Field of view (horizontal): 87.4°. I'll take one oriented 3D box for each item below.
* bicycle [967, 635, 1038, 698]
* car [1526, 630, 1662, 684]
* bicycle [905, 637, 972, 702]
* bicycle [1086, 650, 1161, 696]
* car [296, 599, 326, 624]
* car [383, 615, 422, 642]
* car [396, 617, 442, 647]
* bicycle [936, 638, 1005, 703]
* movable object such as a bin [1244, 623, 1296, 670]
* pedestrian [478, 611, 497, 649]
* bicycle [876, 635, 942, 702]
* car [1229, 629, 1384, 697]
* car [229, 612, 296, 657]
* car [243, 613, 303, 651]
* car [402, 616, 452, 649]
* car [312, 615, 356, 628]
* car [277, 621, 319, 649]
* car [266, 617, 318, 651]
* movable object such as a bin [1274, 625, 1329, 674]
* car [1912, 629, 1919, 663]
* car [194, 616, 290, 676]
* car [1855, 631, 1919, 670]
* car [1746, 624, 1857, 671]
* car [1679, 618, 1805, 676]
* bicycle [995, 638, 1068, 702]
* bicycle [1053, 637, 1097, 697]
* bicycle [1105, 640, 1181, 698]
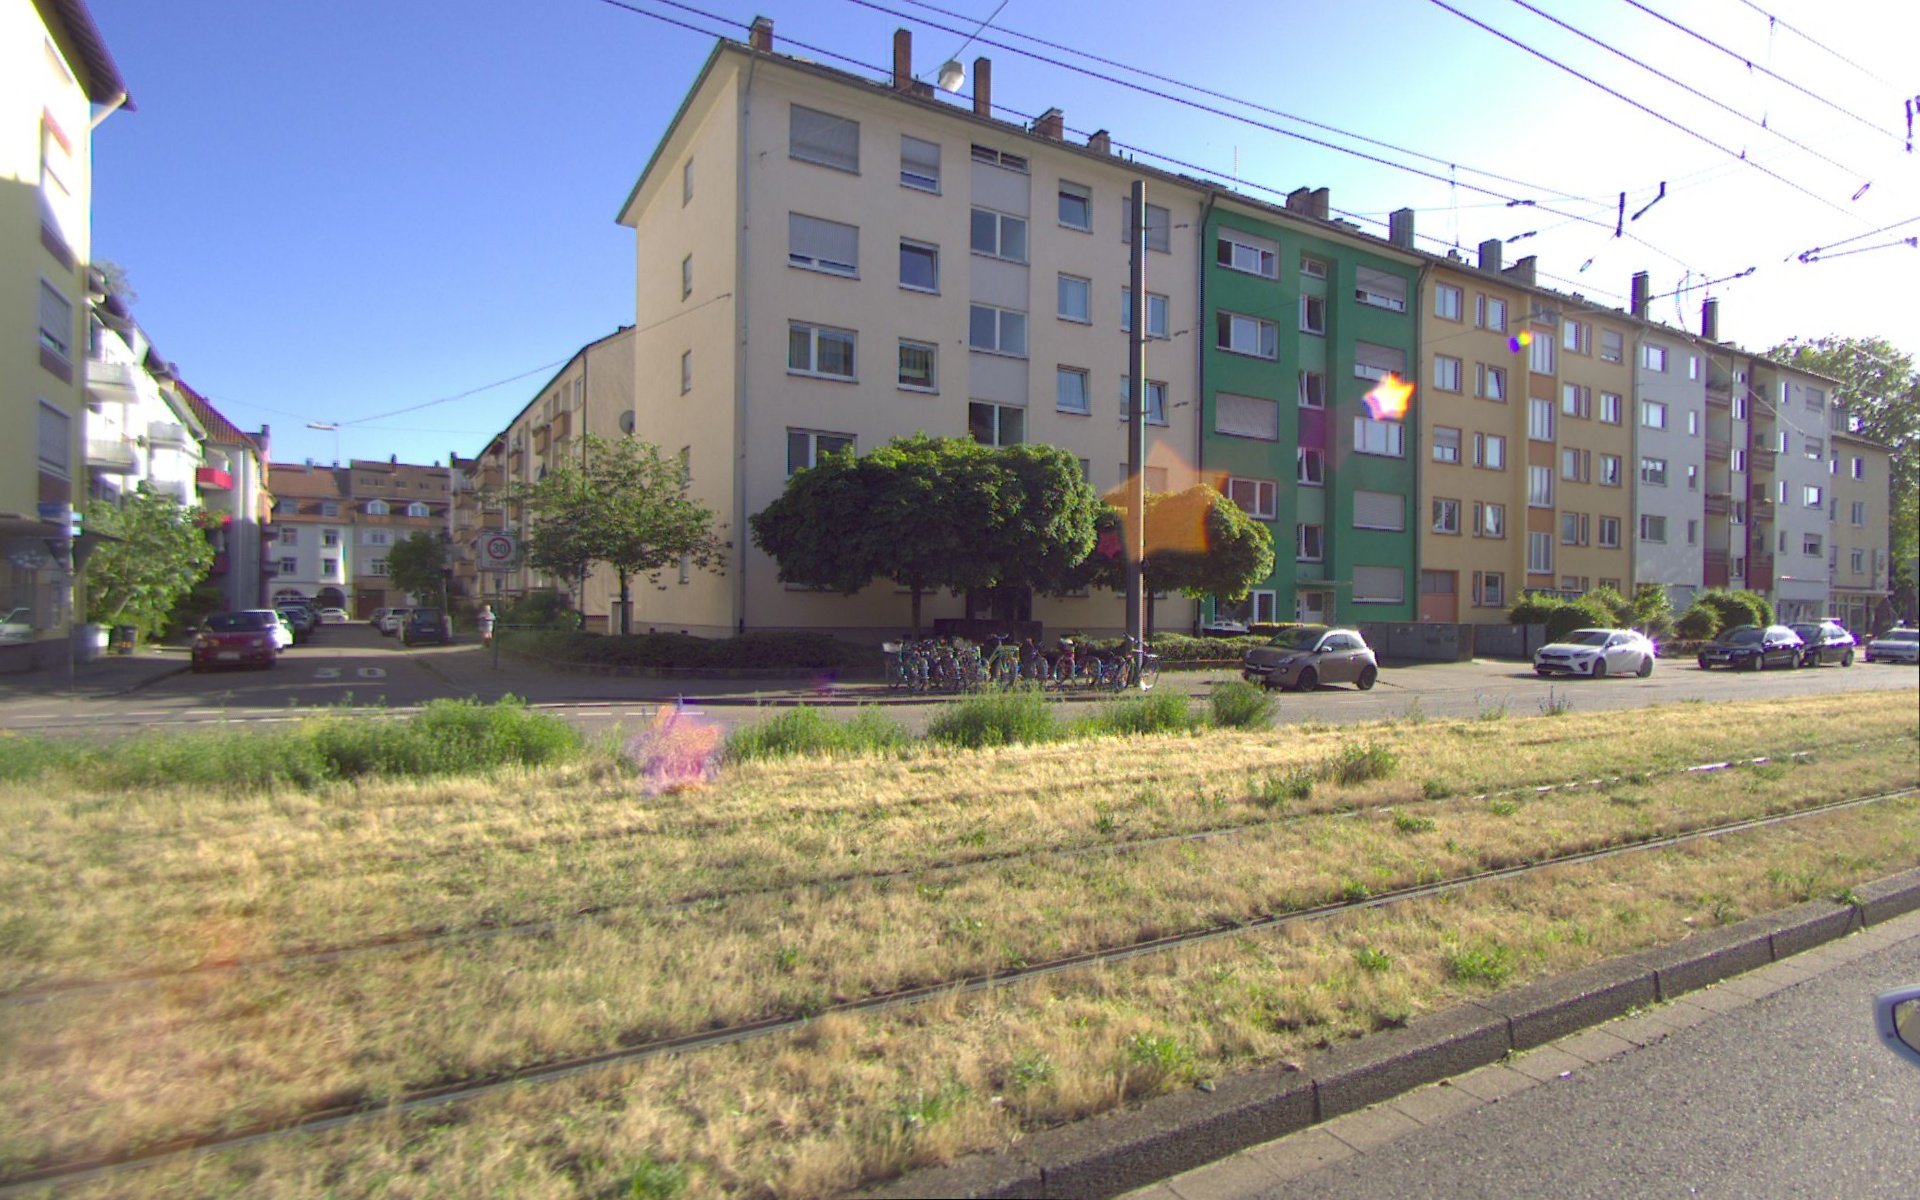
[{"bbox_3d":[0.848,1.340,20.738,0.607,1.107,2.042,1,2,-23],"label":"bicycle"},{"bbox_3d":[19.628,1.717,31.062,4.324,1.474,1.720,1,1,-30],"label":"car"},{"bbox_3d":[-0.457,1.361,20.142,0.607,1.107,2.042,1,2,-23],"label":"bicycle"},{"bbox_3d":[3.570,1.570,21.790,2.039,0.877,0.373,0,2,-42],"label":"bicycle"},{"bbox_3d":[-53.852,0.961,83.352,1.994,1.935,4.461,1,-2,-32],"label":"car"},{"bbox_3d":[-31.441,1.619,56.615,1.753,1.431,3.966,1,-2,-32],"label":"car"},{"bbox_3d":[-26.692,1.586,49.518,1.753,1.431,3.966,1,-2,-32],"label":"car"},{"bbox_3d":[0.187,1.407,20.441,0.607,1.107,2.042,1,2,-23],"label":"bicycle"},{"bbox_3d":[9.833,1.453,31.846,1.026,1.386,1.142,1,2,-27],"label":"movable object such as a bin"},{"bbox_3d":[-19.835,1.253,42.157,0.659,1.514,0.584,1,2,-32],"label":"pedestrian"},{"bbox_3d":[-1.041,1.319,19.844,0.607,1.107,2.042,1,2,-23],"label":"bicycle"},{"bbox_3d":[8.515,1.489,24.655,3.693,1.461,1.626,1,2,-32],"label":"car"},{"bbox_3d":[-25.090,1.235,36.246,1.753,1.551,3.966,1,-2,-32],"label":"car"},{"bbox_3d":[-27.338,1.268,40.072,1.753,1.431,3.966,1,-2,-32],"label":"car"},{"bbox_3d":[-23.736,1.441,44.665,1.753,1.431,3.966,1,-2,-32],"label":"car"},{"bbox_3d":[-67.869,2.350,108.870,3.960,1.431,1.717,1,-2,-35],"label":"car"},{"bbox_3d":[-36.285,1.920,55.143,1.753,1.431,3.966,1,-2,-32],"label":"car"},{"bbox_3d":[-29.824,1.519,44.924,1.753,1.431,3.966,1,-2,-32],"label":"car"},{"bbox_3d":[10.431,1.505,30.703,1.026,1.386,1.142,1,2,-27],"label":"movable object such as a bin"},{"bbox_3d":[45.891,2.144,46.502,4.279,1.535,1.684,1,1,-33],"label":"car"},{"bbox_3d":[-18.765,1.175,26.404,1.753,1.431,3.966,1,-2,-32],"label":"car"},{"bbox_3d":[41.035,2.149,43.685,4.651,1.511,1.881,1,1,-32],"label":"car"},{"bbox_3d":[32.800,1.808,39.152,4.102,1.629,1.984,1,2,-30],"label":"car"},{"bbox_3d":[28.224,1.647,36.233,4.555,1.862,1.984,1,2,-30],"label":"car"},{"bbox_3d":[1.467,1.433,21.025,0.607,1.107,2.042,1,2,-23],"label":"bicycle"},{"bbox_3d":[2.488,1.440,21.975,0.603,1.107,2.053,2,2,-3],"label":"bicycle"},{"bbox_3d":[3.932,1.448,21.470,1.921,1.107,0.504,0,2,-42],"label":"bicycle"}]
